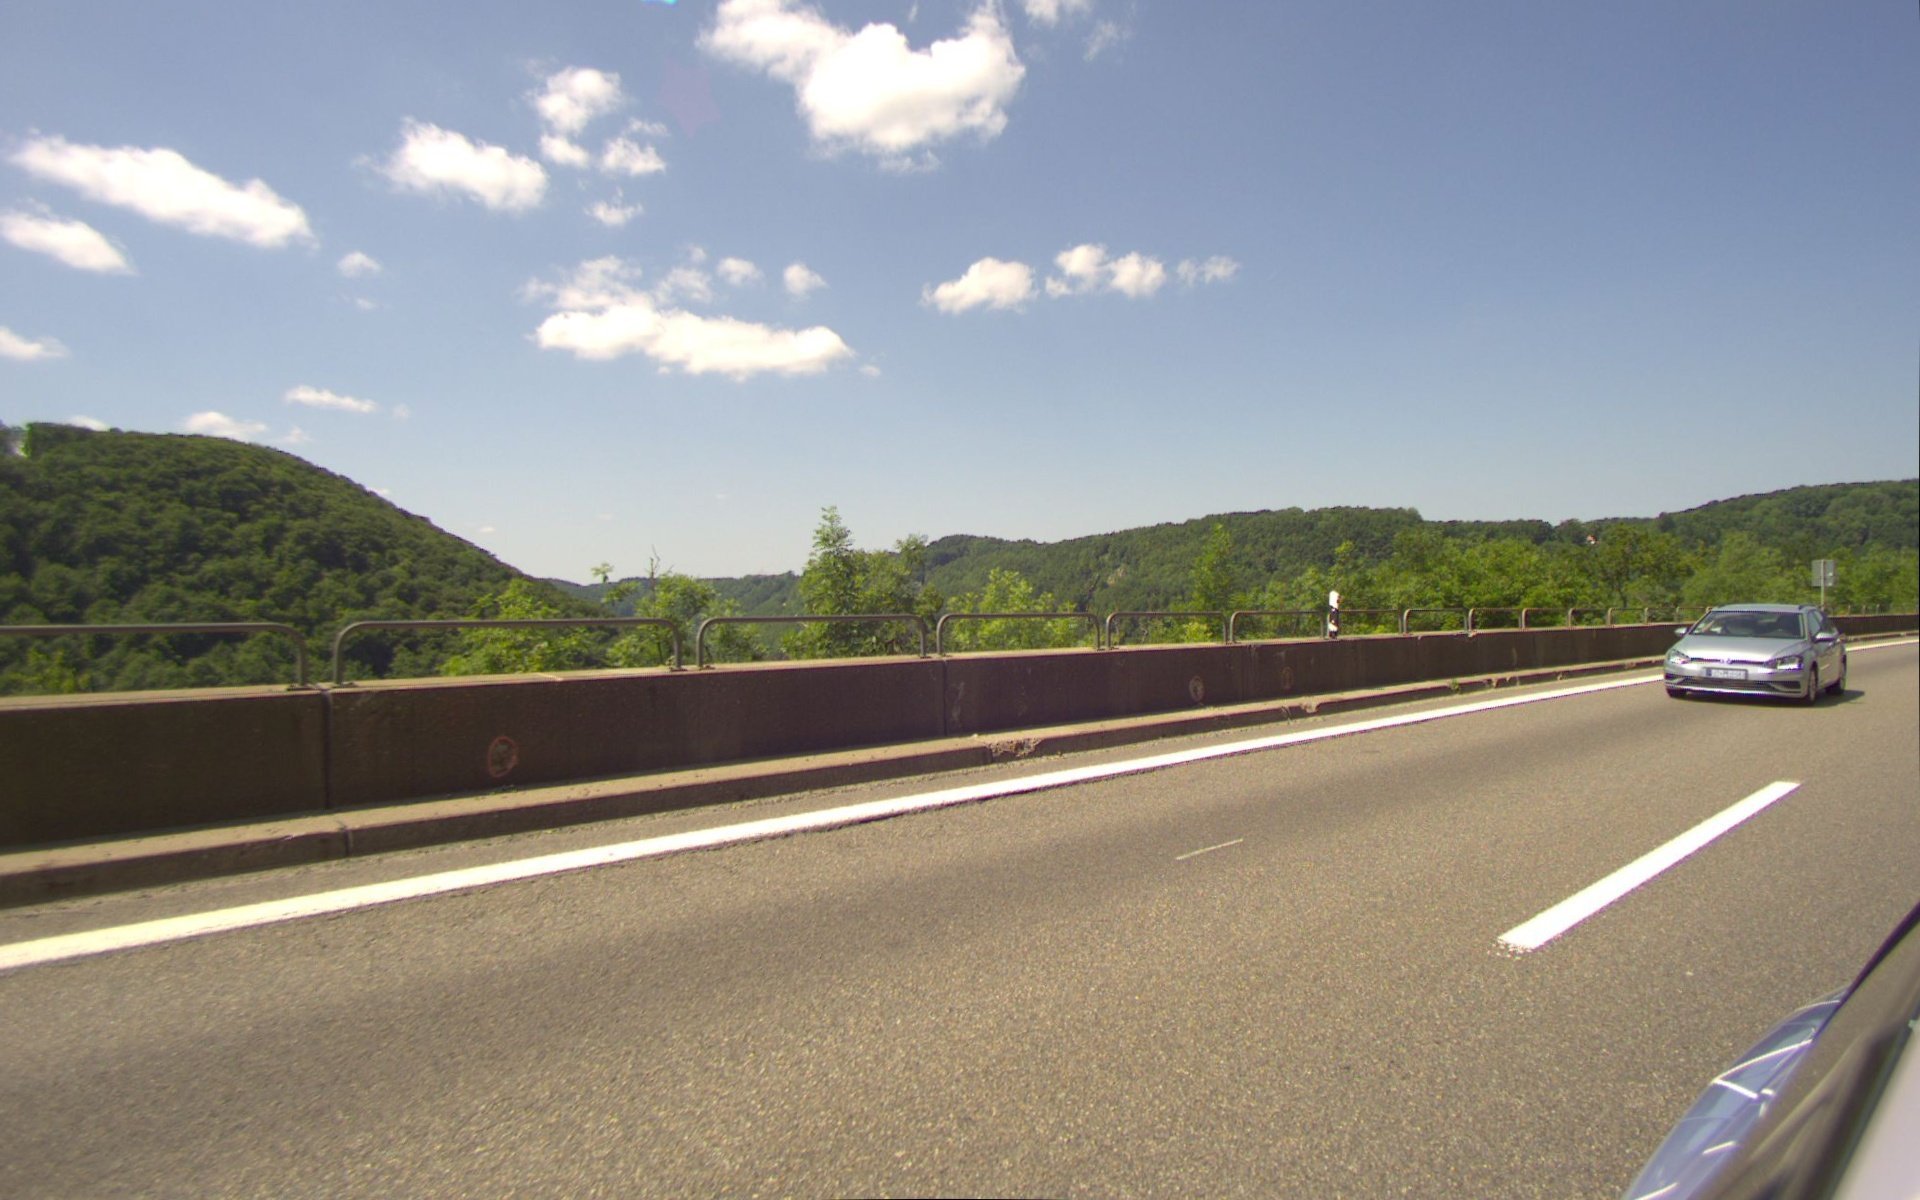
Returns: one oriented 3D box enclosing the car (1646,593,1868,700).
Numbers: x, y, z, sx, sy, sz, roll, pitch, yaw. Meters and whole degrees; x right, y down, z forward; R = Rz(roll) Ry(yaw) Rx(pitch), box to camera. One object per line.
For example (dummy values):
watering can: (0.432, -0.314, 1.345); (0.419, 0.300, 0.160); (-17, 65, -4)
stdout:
car: (12.597, 0.620, 15.910); (4.218, 1.395, 1.971); (-1, 2, -41)
